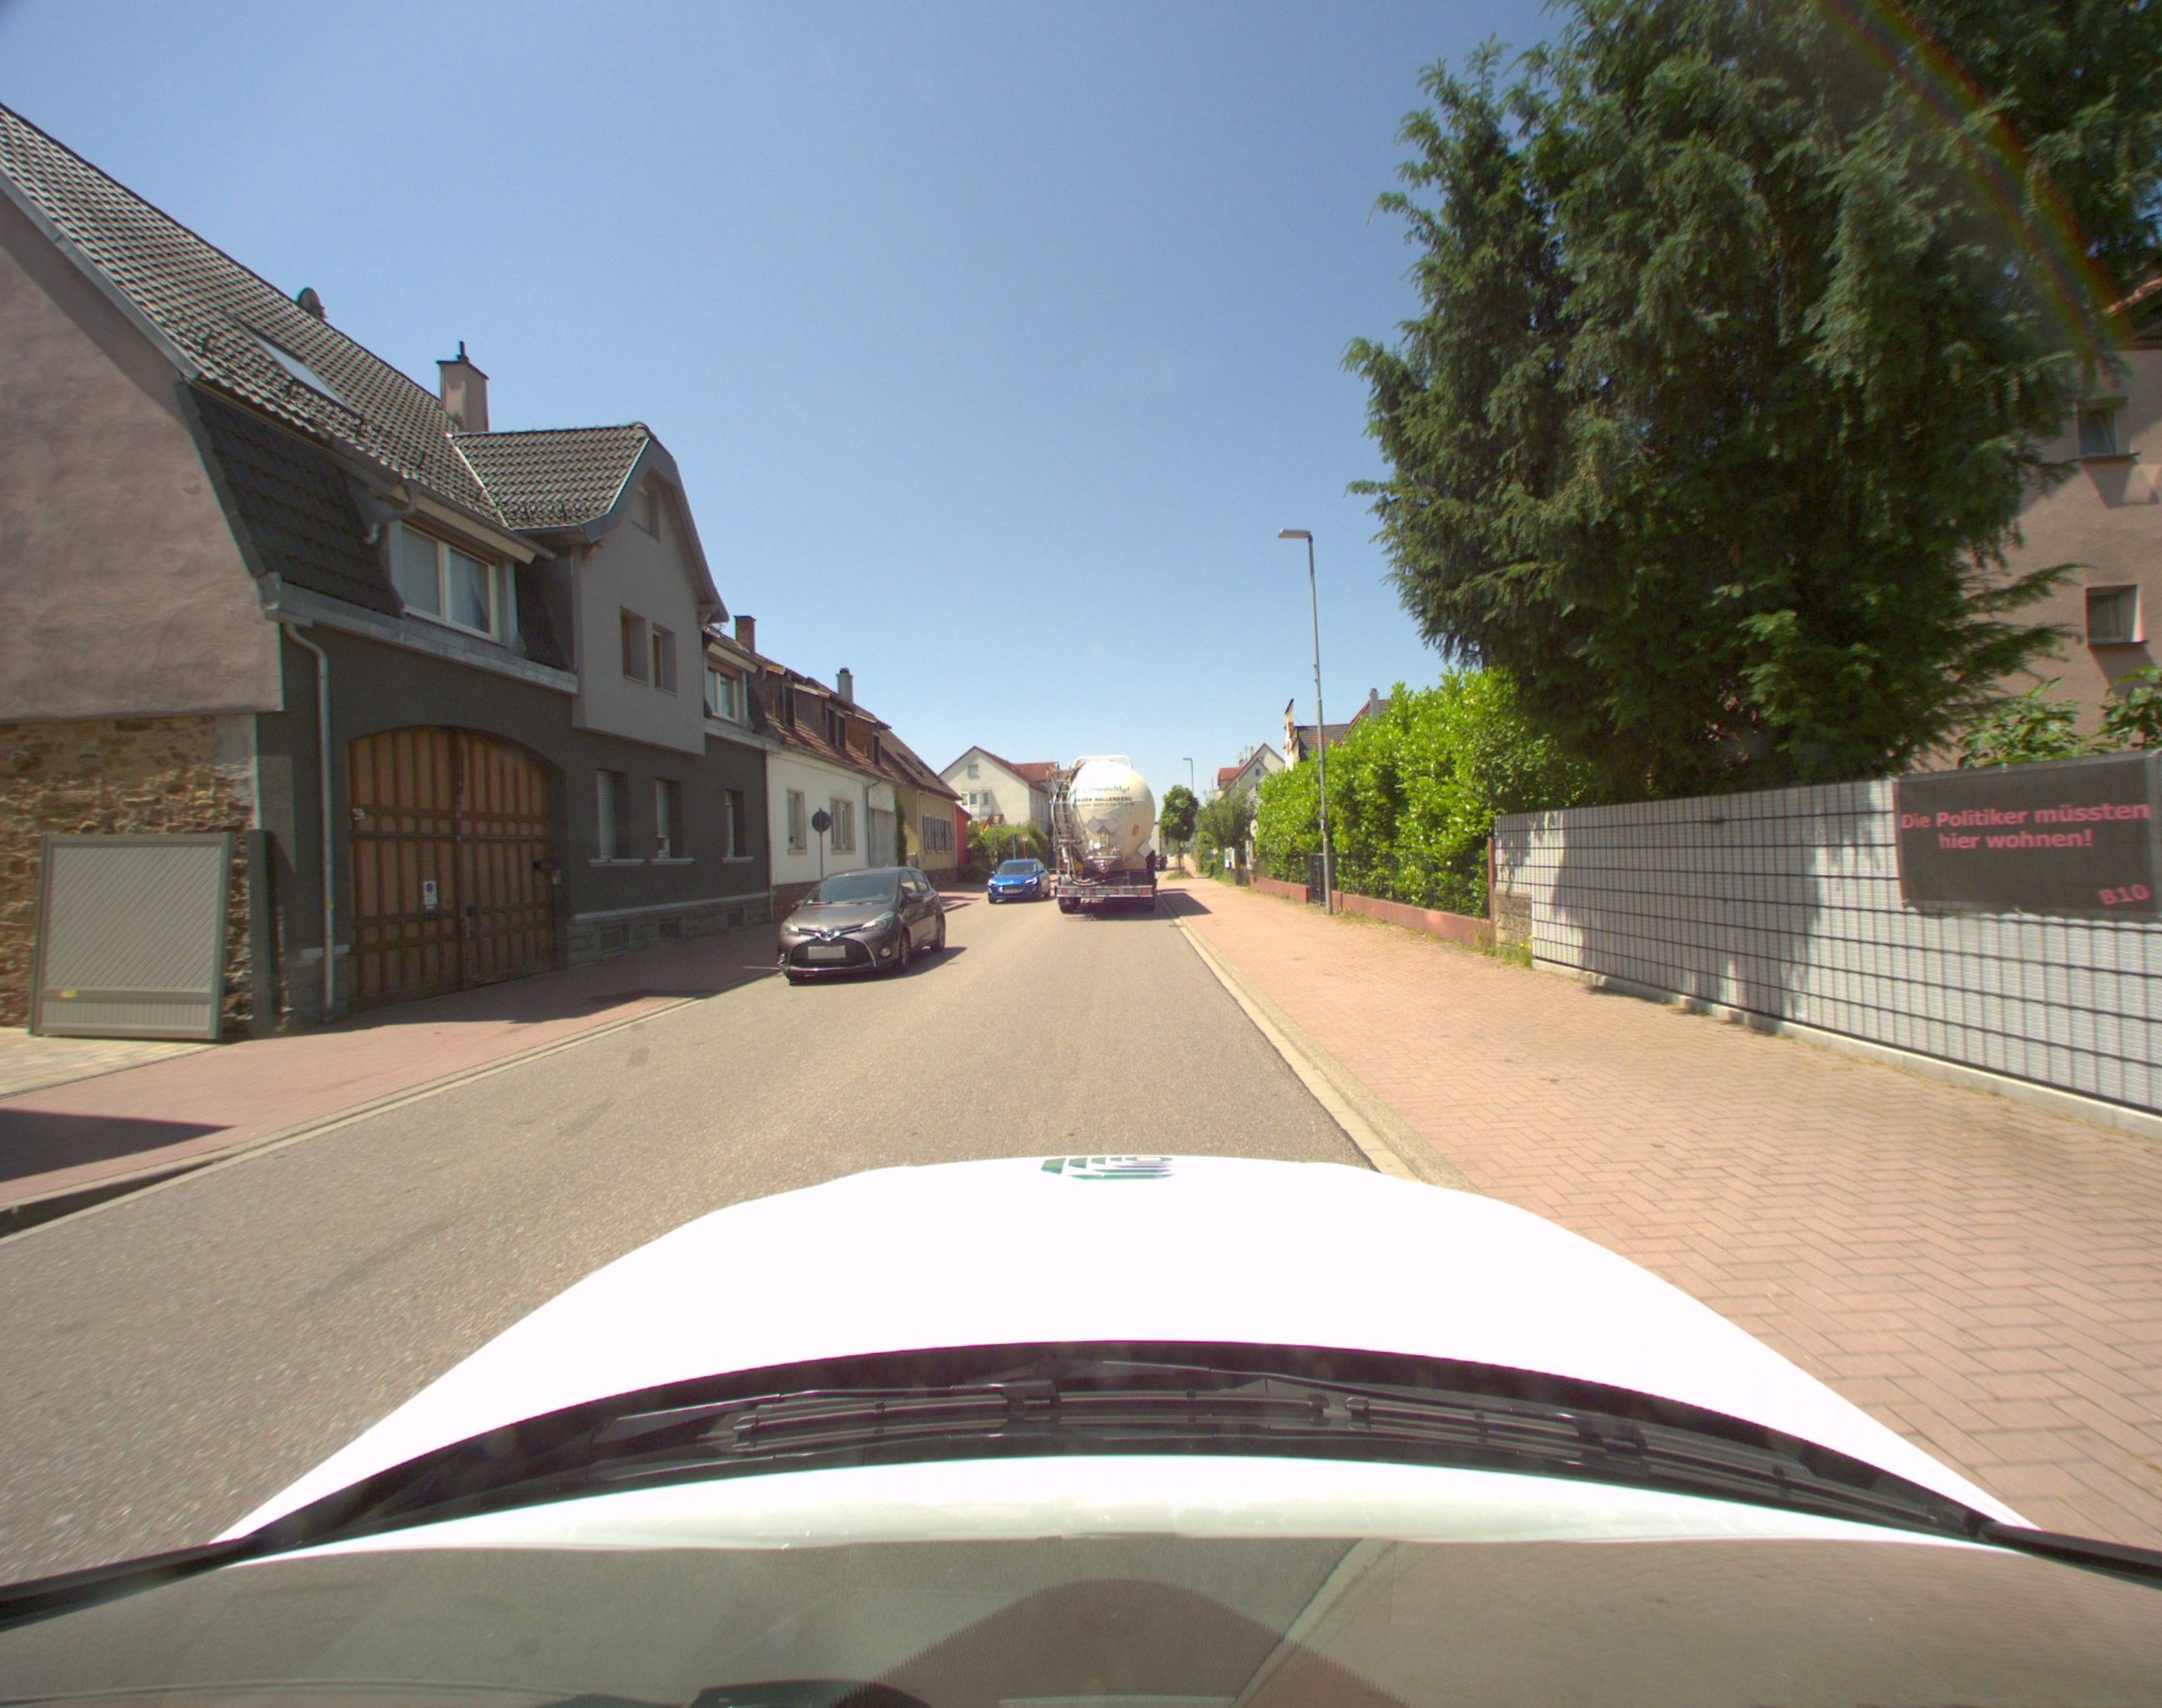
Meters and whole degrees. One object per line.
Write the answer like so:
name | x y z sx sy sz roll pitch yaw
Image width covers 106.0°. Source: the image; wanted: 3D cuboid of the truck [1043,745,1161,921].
truck | 0.680 -0.489 23.701 2.631 4.015 9.566 -1 0 2

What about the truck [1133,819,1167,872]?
truck | 6.216 -0.739 72.239 2.627 4.224 12.114 -1 0 6

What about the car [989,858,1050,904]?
car | -2.143 0.902 29.432 1.639 1.454 4.403 -3 0 2

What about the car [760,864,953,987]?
car | -3.227 0.948 12.553 1.670 1.459 3.930 -4 0 2
